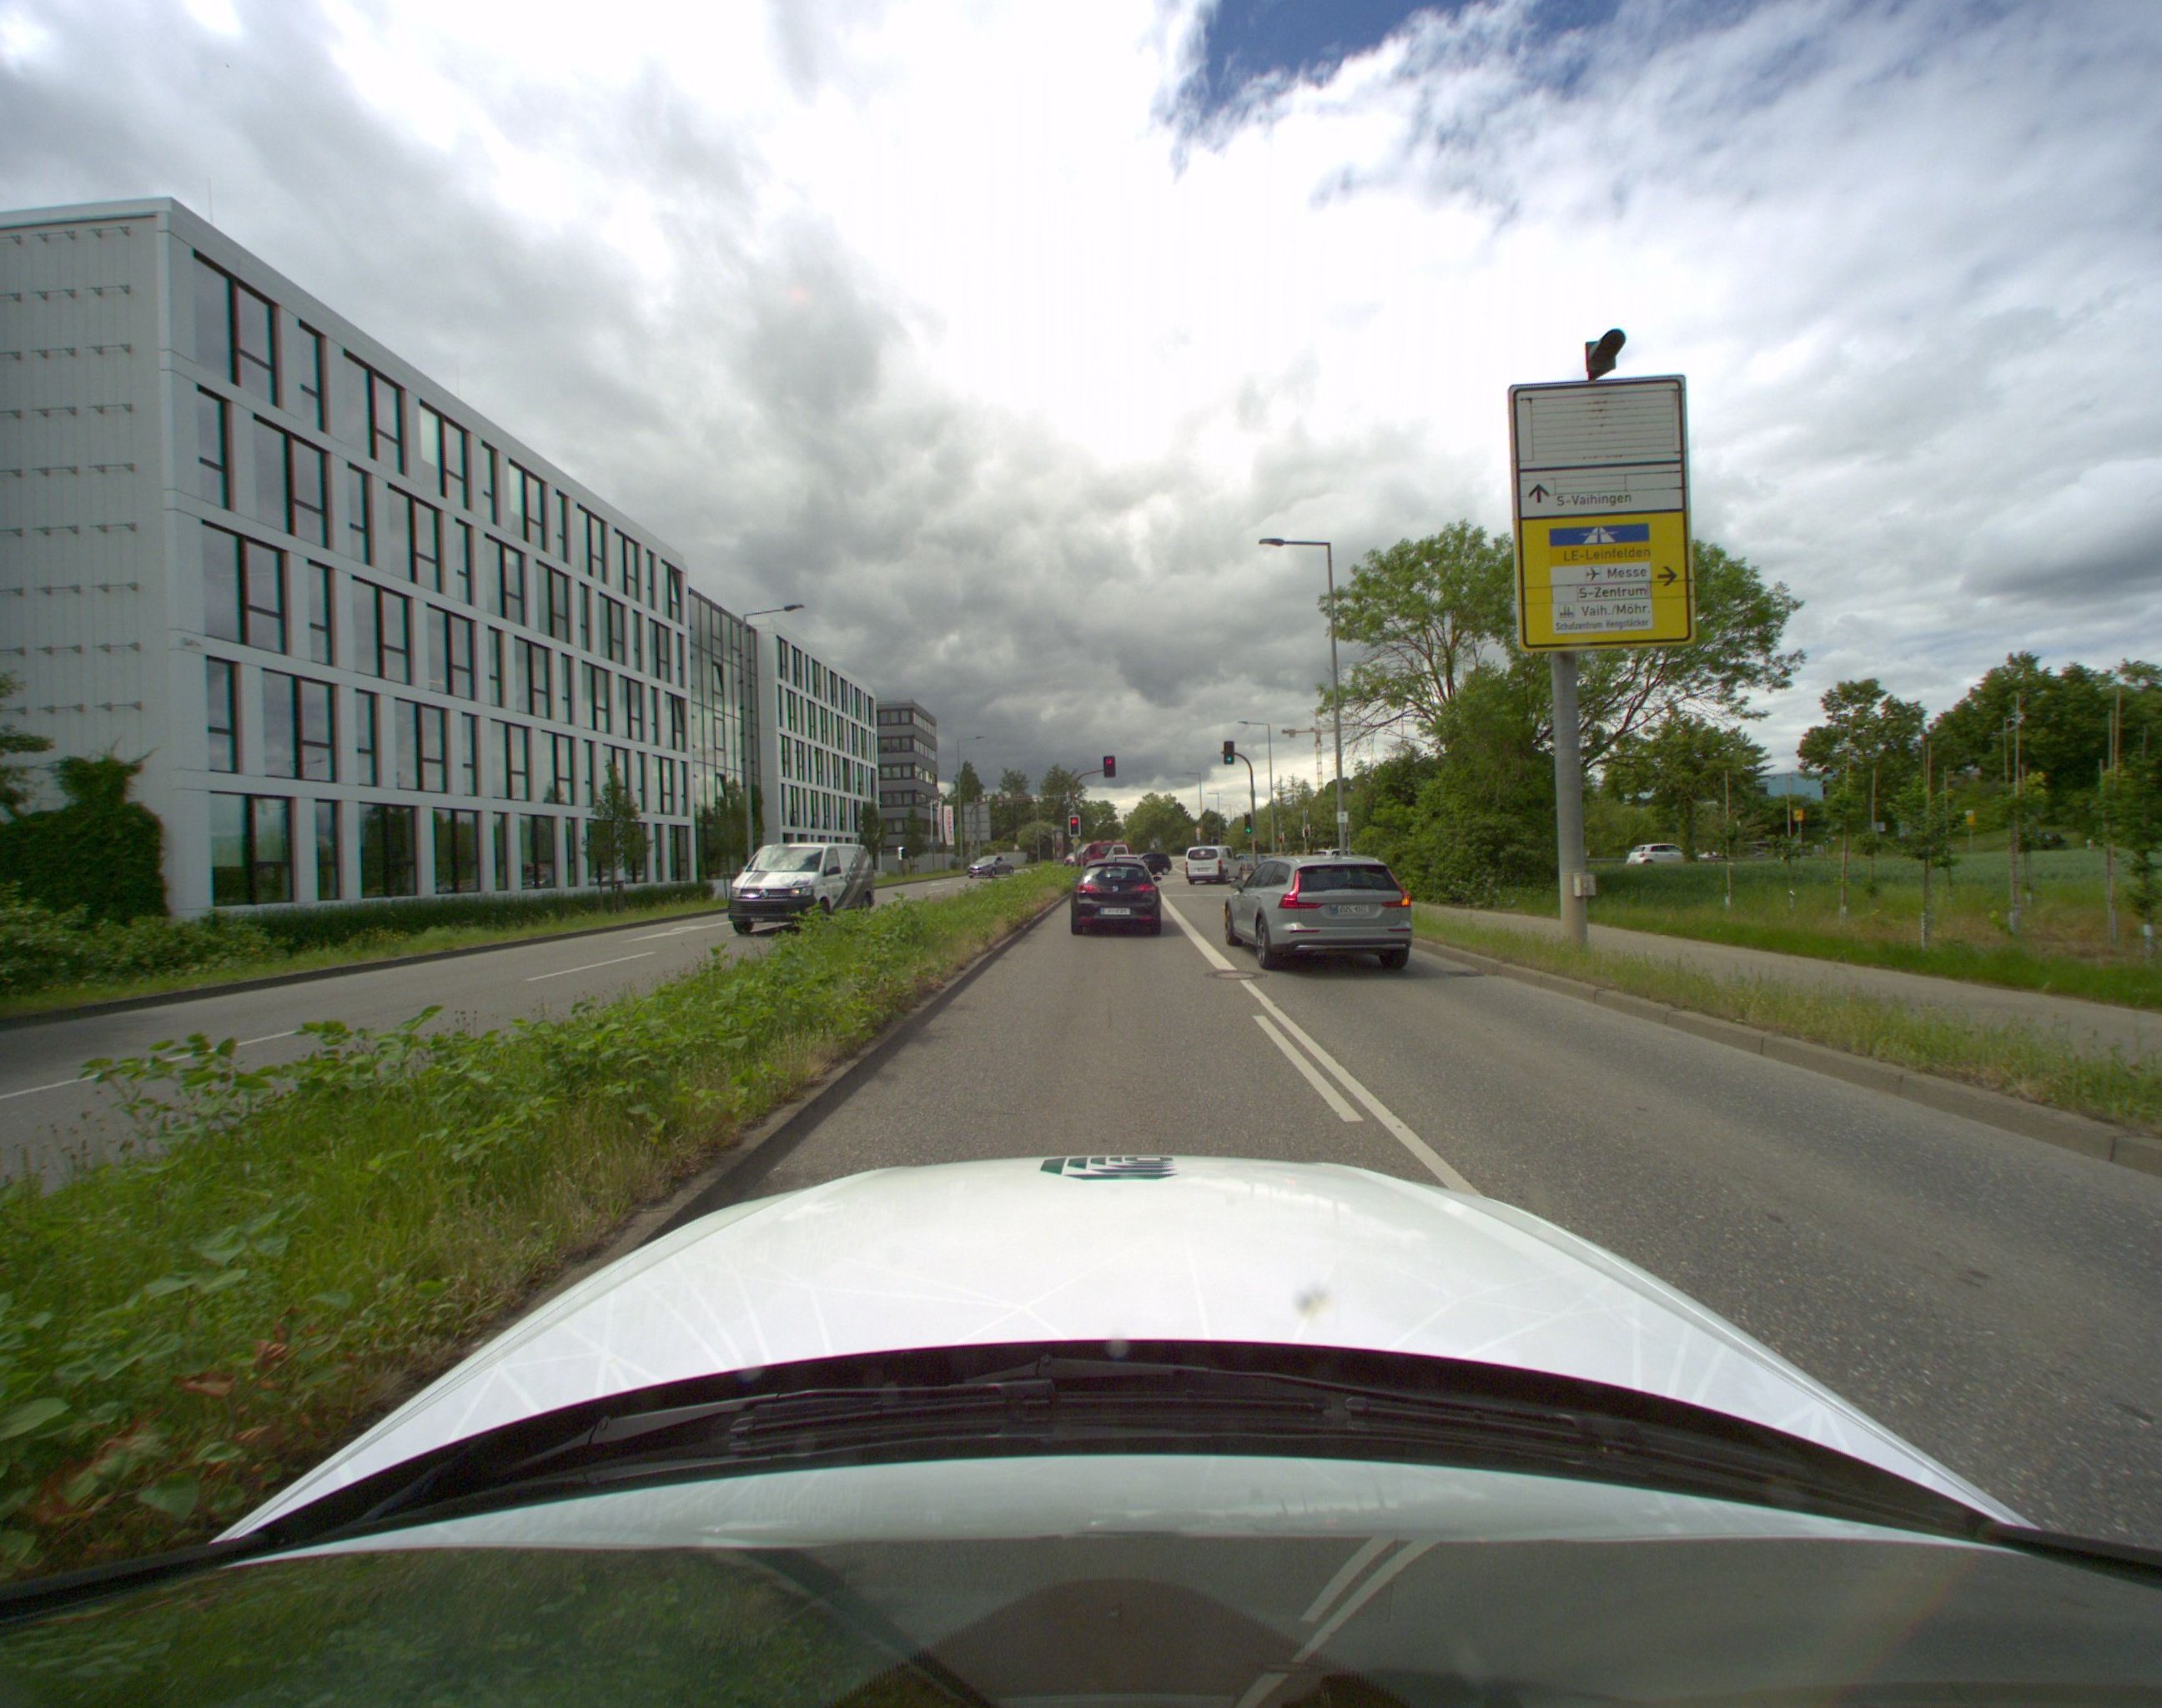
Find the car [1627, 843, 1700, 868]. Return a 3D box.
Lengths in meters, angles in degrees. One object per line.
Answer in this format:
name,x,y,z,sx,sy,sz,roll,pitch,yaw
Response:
car,34.165,0.086,47.789,3.382,1.345,1.682,-2,0,-12

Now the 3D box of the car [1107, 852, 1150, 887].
car,2.166,0.685,37.909,1.767,1.491,3.583,-2,0,1

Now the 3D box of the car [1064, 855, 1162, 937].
car,0.676,0.765,16.609,1.766,1.451,3.585,0,0,3

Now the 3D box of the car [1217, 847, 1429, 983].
car,3.189,0.699,11.713,1.855,1.518,4.449,-2,0,3

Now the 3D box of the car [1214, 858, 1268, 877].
car,12.688,1.052,64.682,3.969,1.354,2.002,-1,0,4

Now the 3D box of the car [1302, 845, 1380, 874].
car,15.599,0.333,48.950,3.985,1.596,1.994,-2,0,-9

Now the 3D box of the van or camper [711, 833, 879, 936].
van or camper,-6.349,0.611,18.795,1.986,2.013,4.818,-2,0,2

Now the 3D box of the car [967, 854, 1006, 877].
car,-6.172,0.744,53.810,1.925,1.398,4.003,-1,0,2

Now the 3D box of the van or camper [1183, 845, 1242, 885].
van or camper,6.712,0.501,41.247,1.977,1.860,4.969,-2,0,20

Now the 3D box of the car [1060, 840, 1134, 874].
car,1.231,0.232,62.745,5.240,2.412,1.987,-2,0,-19
